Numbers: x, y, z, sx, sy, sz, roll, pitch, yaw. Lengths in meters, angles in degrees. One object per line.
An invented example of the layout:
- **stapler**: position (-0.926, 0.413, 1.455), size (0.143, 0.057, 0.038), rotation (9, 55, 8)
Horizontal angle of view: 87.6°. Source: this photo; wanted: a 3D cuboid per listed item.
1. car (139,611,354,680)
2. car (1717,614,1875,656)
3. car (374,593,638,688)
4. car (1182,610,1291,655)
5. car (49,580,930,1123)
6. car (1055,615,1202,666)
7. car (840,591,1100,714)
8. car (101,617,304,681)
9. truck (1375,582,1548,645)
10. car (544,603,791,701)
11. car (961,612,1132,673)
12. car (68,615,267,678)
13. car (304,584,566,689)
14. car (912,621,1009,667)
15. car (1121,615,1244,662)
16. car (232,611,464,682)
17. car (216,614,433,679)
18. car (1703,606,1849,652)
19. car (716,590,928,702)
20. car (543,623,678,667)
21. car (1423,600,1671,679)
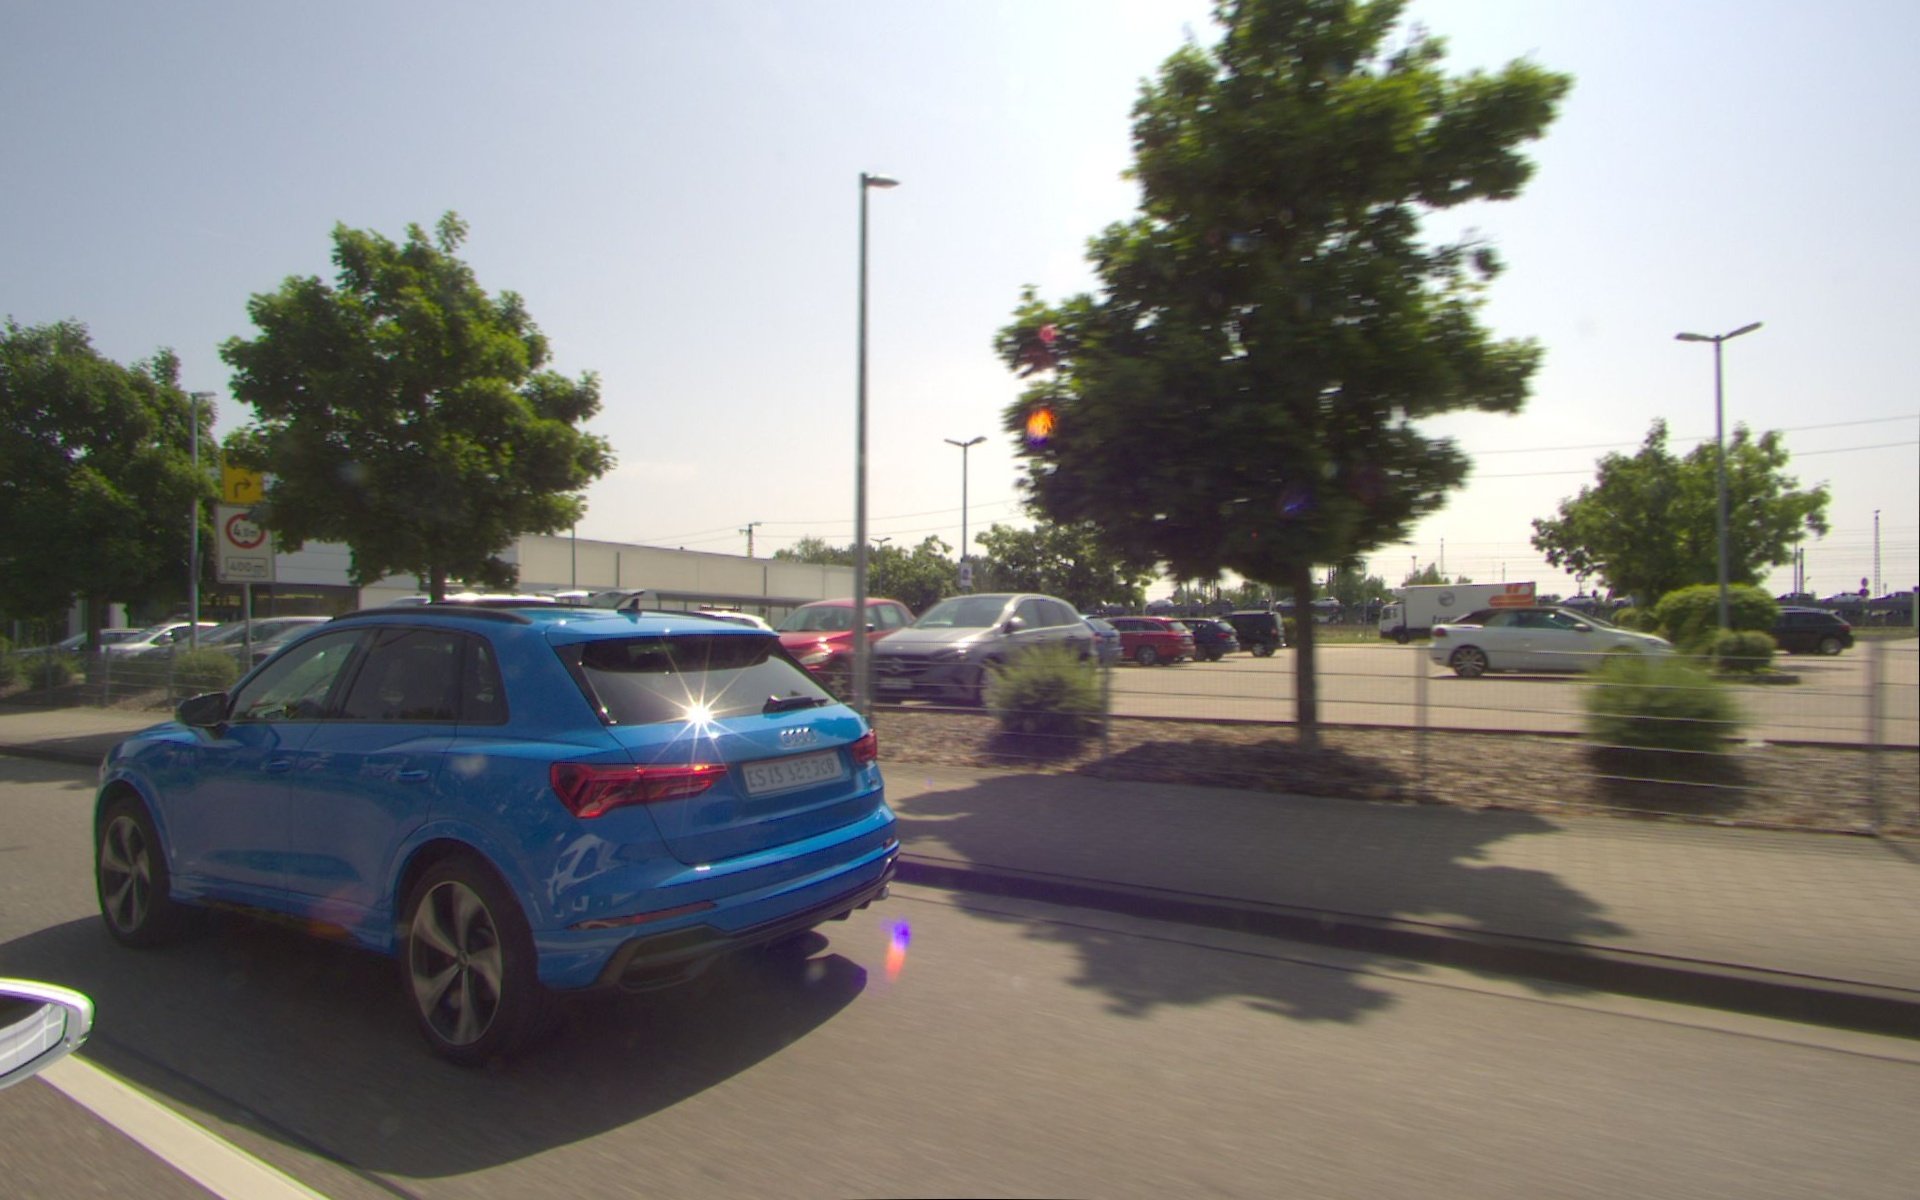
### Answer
- **car**: position (-17.584, 1.132, 24.883), size (1.800, 1.553, 3.982), rotation (-2, -3, 31)
- **car**: position (26.907, 1.120, 32.390), size (3.750, 1.305, 1.626), rotation (-1, -1, 35)
- **car**: position (-8.562, 0.776, 19.279), size (1.801, 1.613, 4.359), rotation (-1, -2, 33)
- **car**: position (10.937, 1.288, 39.706), size (3.805, 1.705, 1.776), rotation (-1, -2, 35)
- **car**: position (-2.434, 0.780, 4.866), size (4.286, 1.614, 1.805), rotation (-1, 0, 32)
- **car**: position (4.984, 1.178, 29.695), size (3.940, 1.438, 1.726), rotation (-1, -1, 30)
- **car**: position (0.314, 0.697, 13.887), size (1.674, 1.439, 4.163), rotation (-1, -2, 33)
- **car**: position (-20.131, 1.305, 26.802), size (1.798, 1.553, 3.989), rotation (-2, -3, 25)
- **truck**: position (32.802, 0.930, 65.797), size (9.893, 3.888, 2.844), rotation (-1, -1, 33)
- **car**: position (-4.807, 0.856, 17.017), size (1.673, 1.439, 3.992), rotation (-1, -2, 30)
- **car**: position (2.153, 1.039, 25.218), size (3.940, 1.438, 1.726), rotation (-1, -1, 30)
- **car**: position (-22.128, 1.317, 28.128), size (1.798, 1.616, 3.988), rotation (-1, -3, 27)
- **car**: position (-10.823, 0.776, 21.035), size (1.800, 1.949, 4.611), rotation (-1, -2, 31)
- **car**: position (0.006, 1.434, 32.775), size (2.913, 1.438, 1.263), rotation (-1, -1, 30)
- **car**: position (7.587, 1.300, 34.177), size (3.719, 1.527, 1.778), rotation (-1, -1, 31)
- **car**: position (-13.353, 1.008, 22.086), size (1.800, 1.407, 3.982), rotation (-1, -2, 31)
- **car**: position (-15.008, 1.085, 23.856), size (1.800, 1.407, 3.982), rotation (-1, -2, 31)
- **car**: position (28.102, 0.990, 34.641), size (3.750, 1.497, 1.626), rotation (-1, -1, 35)
- **car**: position (-2.051, 0.718, 15.919), size (1.695, 1.556, 3.592), rotation (0, -2, 24)
- **car**: position (-12.254, 1.536, 35.050), size (4.847, 1.438, 1.795), rotation (-1, -1, 31)
- **car**: position (11.403, 0.777, 19.679), size (4.021, 1.412, 1.732), rotation (-2, -1, 31)
